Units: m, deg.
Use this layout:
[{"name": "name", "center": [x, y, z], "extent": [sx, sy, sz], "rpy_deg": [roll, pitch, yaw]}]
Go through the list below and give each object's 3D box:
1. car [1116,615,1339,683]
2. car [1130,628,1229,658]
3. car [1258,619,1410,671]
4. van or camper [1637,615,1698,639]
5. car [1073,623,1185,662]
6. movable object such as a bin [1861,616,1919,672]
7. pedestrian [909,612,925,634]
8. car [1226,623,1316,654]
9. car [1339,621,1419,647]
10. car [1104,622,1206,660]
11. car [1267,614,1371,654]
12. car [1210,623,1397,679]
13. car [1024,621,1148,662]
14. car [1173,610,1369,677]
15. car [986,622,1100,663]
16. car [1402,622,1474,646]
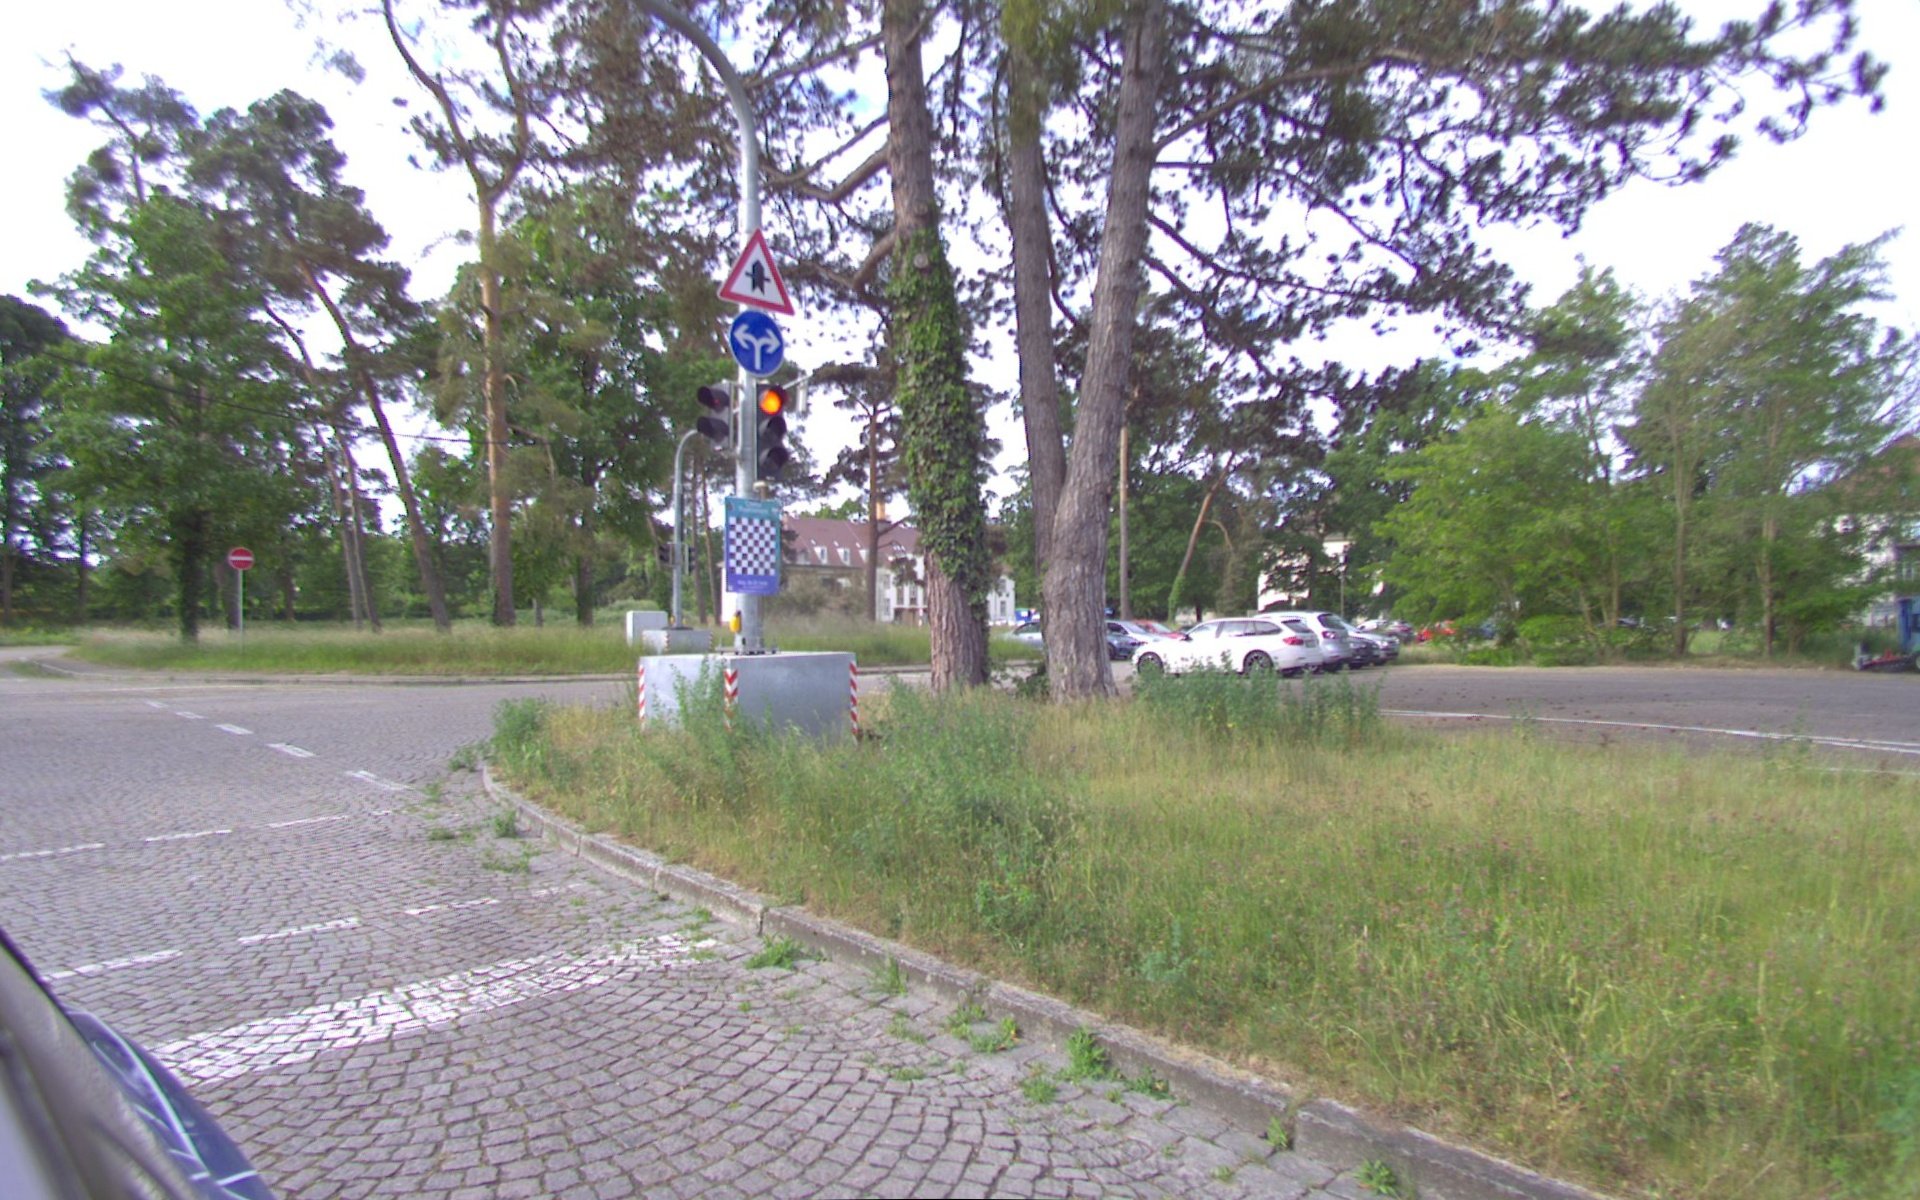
[{"name": "car", "center": [6.321, 1.218, 24.304], "extent": [4.820, 1.450, 1.887], "rpy_deg": [-5, -4, 42]}, {"name": "car", "center": [9.610, 1.866, 44.502], "extent": [1.770, 1.244, 3.938], "rpy_deg": [1, -2, -45]}, {"name": "car", "center": [11.220, 1.317, 30.499], "extent": [3.983, 1.467, 1.658], "rpy_deg": [-1, -2, 40]}, {"name": "van or camper", "center": [77.732, 2.954, 111.238], "extent": [5.250, 2.482, 2.178], "rpy_deg": [-1, -2, 42]}, {"name": "car", "center": [6.765, 1.678, 40.817], "extent": [1.769, 1.456, 4.274], "rpy_deg": [1, -2, -43]}, {"name": "movable object such as a bin", "center": [21.417, 0.956, 22.104], "extent": [2.540, 1.221, 1.154], "rpy_deg": [-2, -2, 44]}, {"name": "pedestrian", "center": [-4.372, 2.359, 102.620], "extent": [1.185, 2.194, 1.040], "rpy_deg": [-1, -2, 44]}, {"name": "car", "center": [15.527, 1.905, 50.575], "extent": [3.938, 1.460, 1.770], "rpy_deg": [-1, -2, 45]}, {"name": "car", "center": [25.058, 2.030, 60.587], "extent": [1.841, 1.516, 4.004], "rpy_deg": [1, -2, -43]}, {"name": "car", "center": [8.176, 1.697, 42.634], "extent": [1.769, 1.524, 3.940], "rpy_deg": [1, -2, -43]}, {"name": "car", "center": [19.127, 1.779, 54.079], "extent": [1.969, 2.029, 4.851], "rpy_deg": [1, -2, -42]}, {"name": "car", "center": [9.576, 1.380, 28.423], "extent": [4.633, 1.433, 1.859], "rpy_deg": [-1, -2, 42]}, {"name": "car", "center": [4.791, 1.556, 38.998], "extent": [4.635, 1.456, 1.770], "rpy_deg": [-1, -2, 45]}, {"name": "car", "center": [7.996, 1.143, 26.260], "extent": [4.484, 1.602, 1.822], "rpy_deg": [-3, -3, 40]}, {"name": "car", "center": [3.012, 1.529, 37.162], "extent": [1.770, 1.429, 4.002], "rpy_deg": [1, -2, -45]}, {"name": "car", "center": [32.078, 2.241, 67.911], "extent": [3.998, 1.581, 1.973], "rpy_deg": [-1, -2, 41]}]
